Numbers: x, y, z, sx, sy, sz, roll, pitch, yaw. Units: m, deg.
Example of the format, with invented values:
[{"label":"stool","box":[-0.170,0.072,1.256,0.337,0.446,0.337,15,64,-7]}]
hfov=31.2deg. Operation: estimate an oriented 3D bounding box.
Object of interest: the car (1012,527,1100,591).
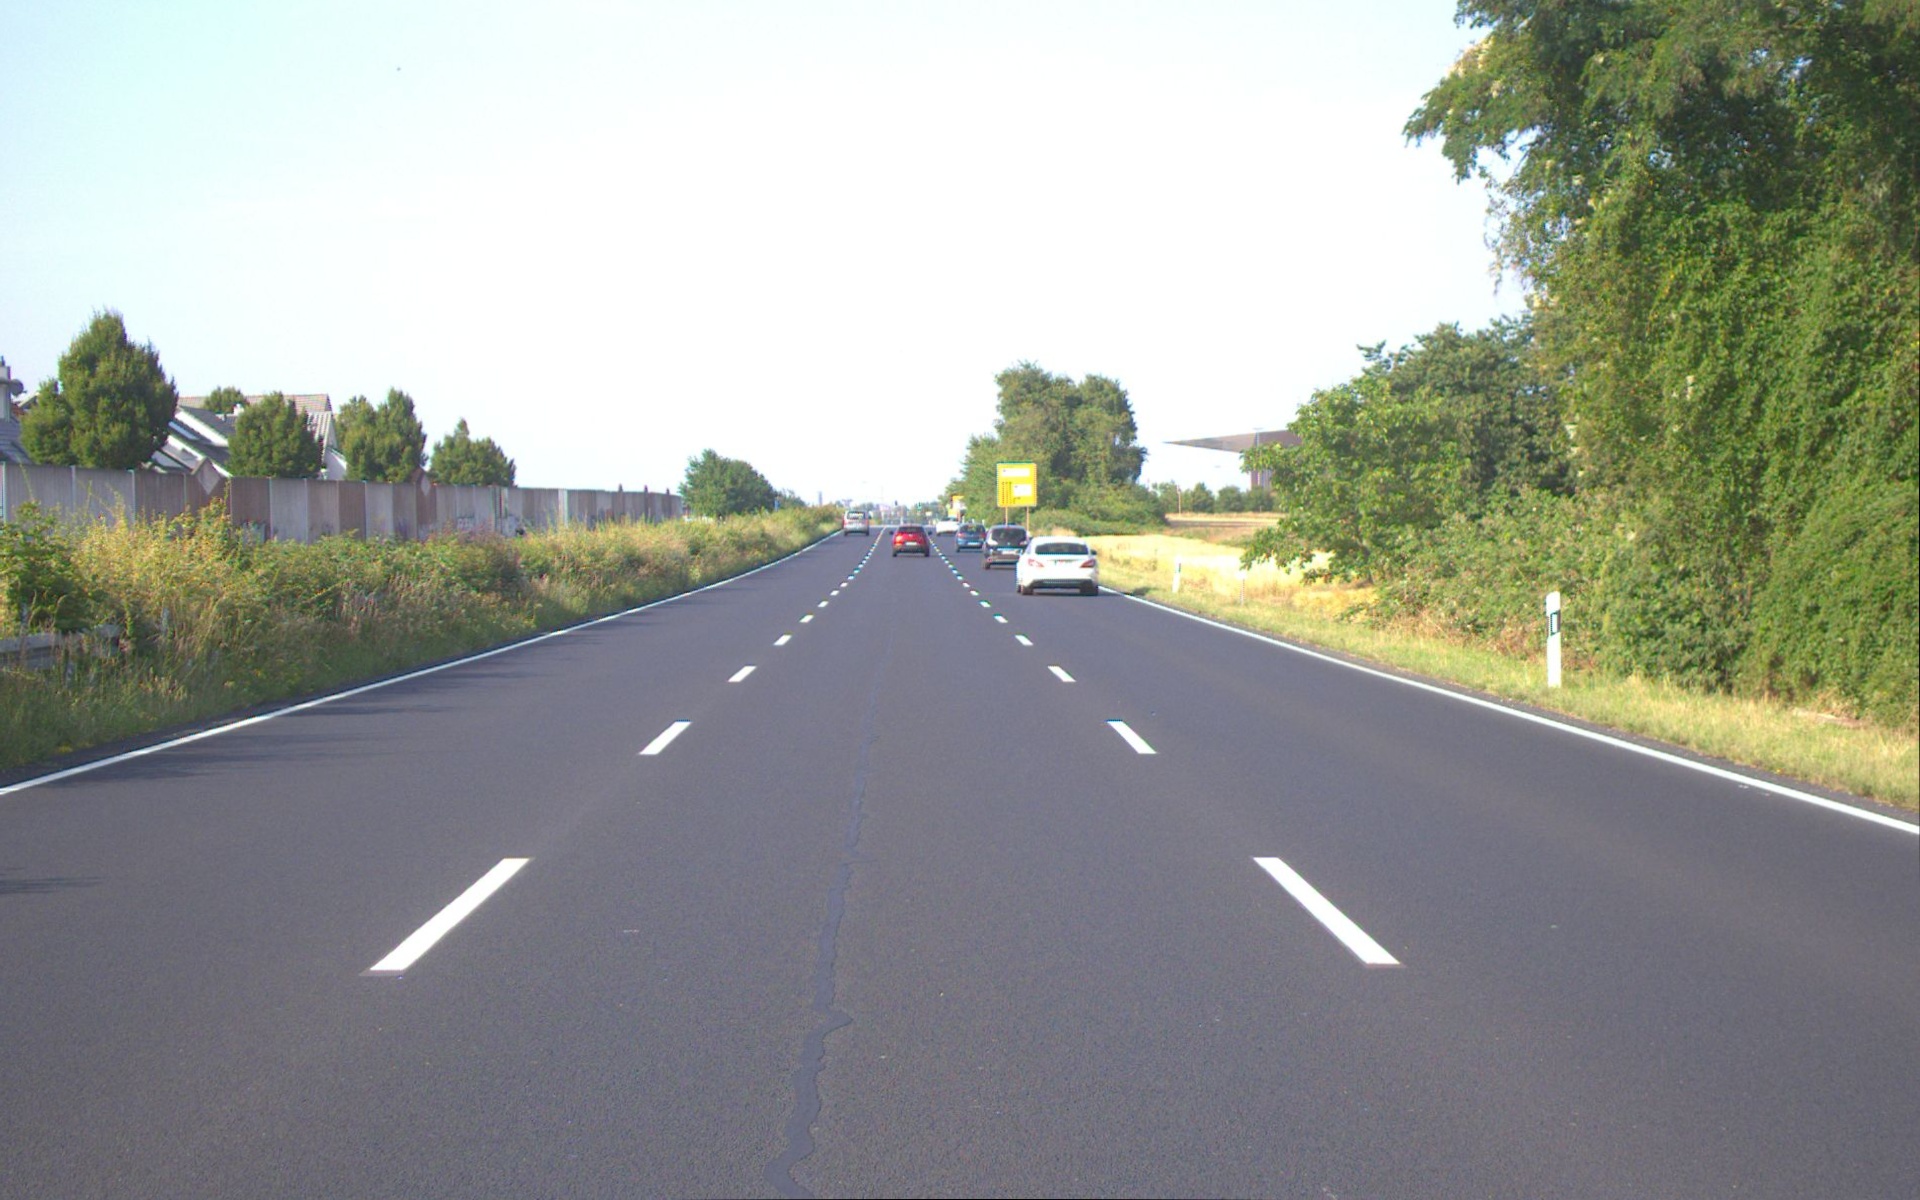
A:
[{"label":"car","box":[2.347,-1.014,84.866,1.993,1.511,4.000,1,1,-1]}]

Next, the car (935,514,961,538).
[{"label":"car","box":[-0.890,-5.442,253.964,1.847,1.744,4.000,1,1,0]}]

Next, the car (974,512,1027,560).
[{"label":"car","box":[1.515,-2.392,128.807,1.828,1.722,4.000,1,1,-1]}]

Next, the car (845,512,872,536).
[{"label":"car","box":[-7.522,-5.643,255.369,1.993,1.711,4.000,1,1,-1]}]

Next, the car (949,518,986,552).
[{"label":"car","box":[0.367,-3.356,178.047,1.834,1.711,3.862,1,1,-1]}]

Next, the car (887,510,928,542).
[{"label":"car","box":[-2.459,-3.451,160.731,1.812,1.431,3.859,1,1,-2]}]
